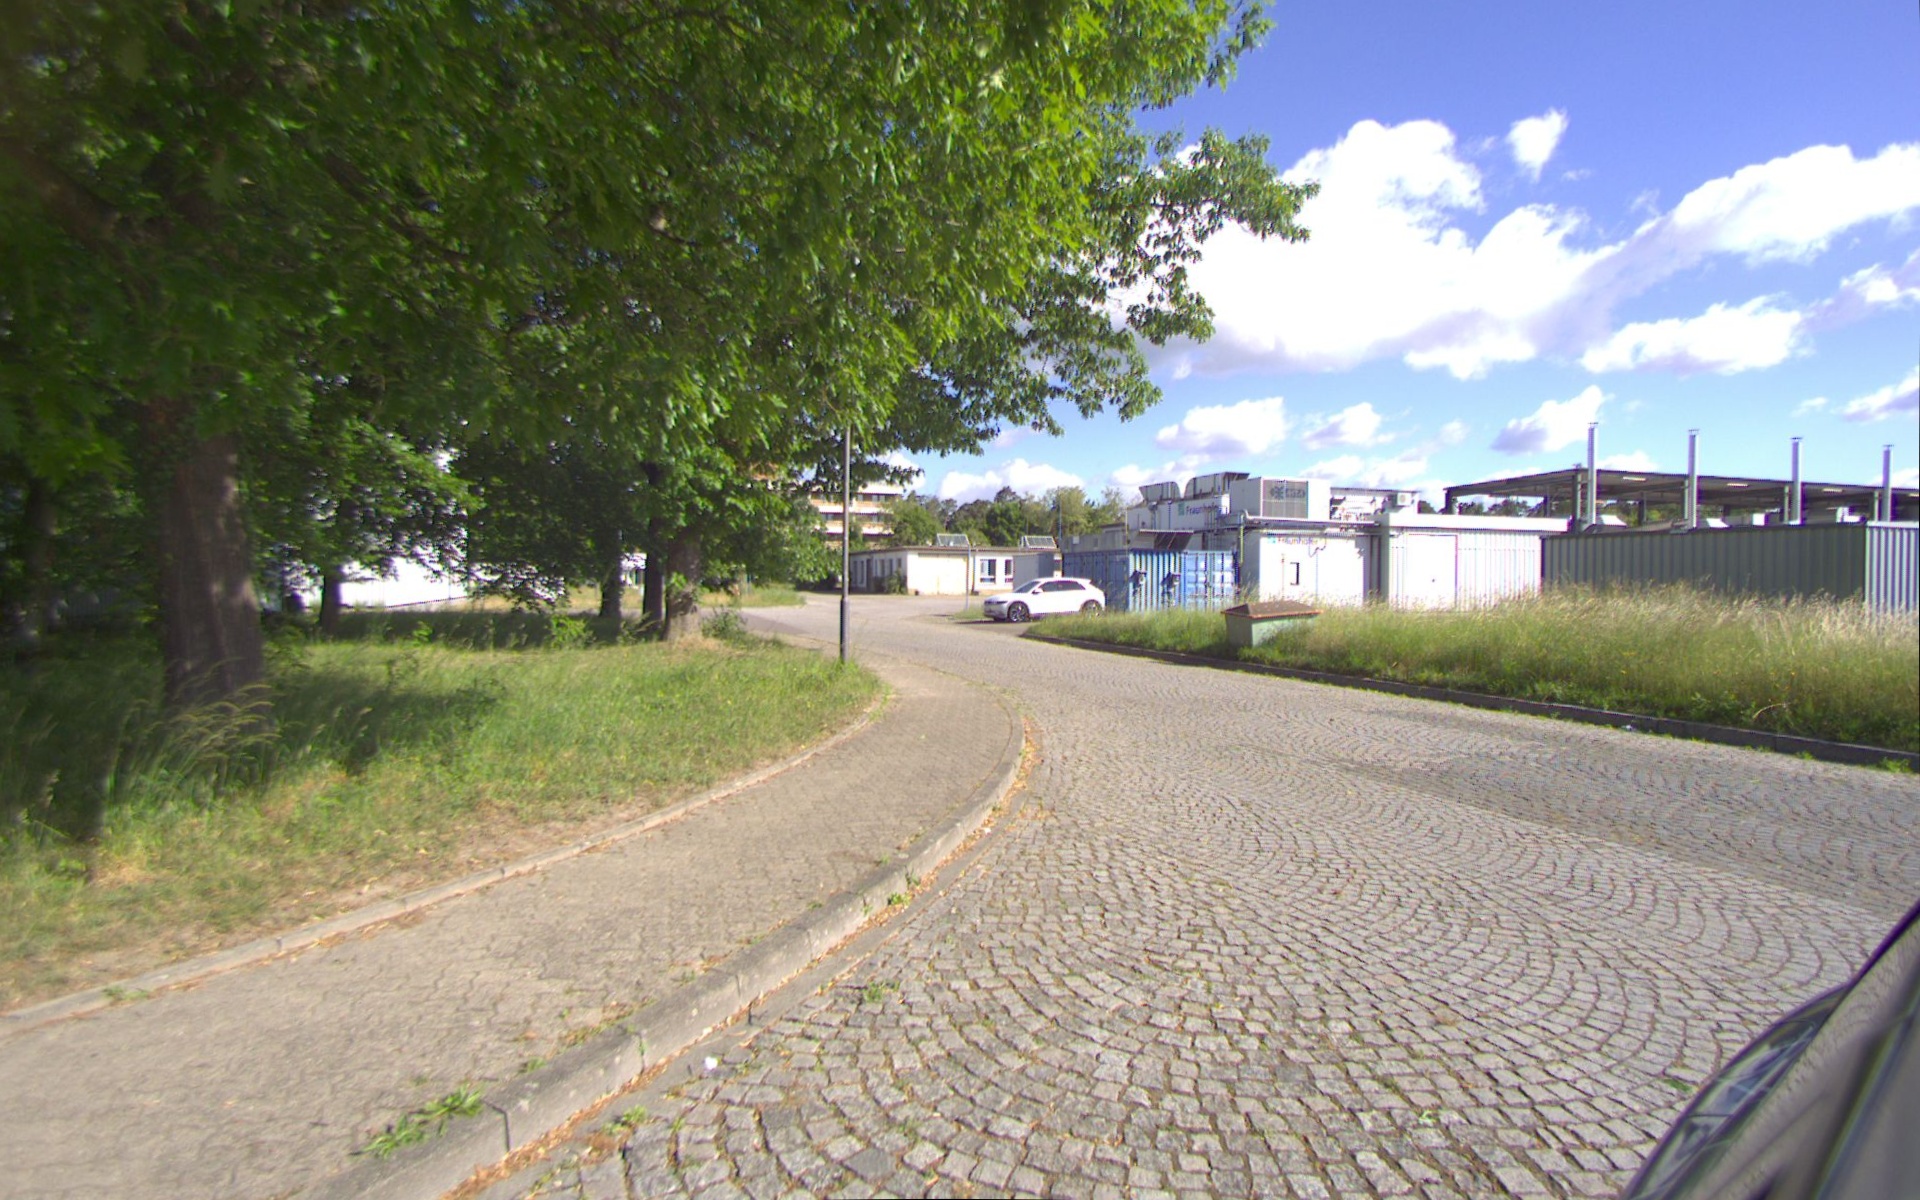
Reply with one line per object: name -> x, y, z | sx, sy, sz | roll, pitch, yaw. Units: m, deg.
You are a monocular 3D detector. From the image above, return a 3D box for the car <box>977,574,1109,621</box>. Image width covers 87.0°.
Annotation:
car -> 3.034, -0.123, 37.112 | 4.425, 1.613, 1.828 | -1, 0, -20
